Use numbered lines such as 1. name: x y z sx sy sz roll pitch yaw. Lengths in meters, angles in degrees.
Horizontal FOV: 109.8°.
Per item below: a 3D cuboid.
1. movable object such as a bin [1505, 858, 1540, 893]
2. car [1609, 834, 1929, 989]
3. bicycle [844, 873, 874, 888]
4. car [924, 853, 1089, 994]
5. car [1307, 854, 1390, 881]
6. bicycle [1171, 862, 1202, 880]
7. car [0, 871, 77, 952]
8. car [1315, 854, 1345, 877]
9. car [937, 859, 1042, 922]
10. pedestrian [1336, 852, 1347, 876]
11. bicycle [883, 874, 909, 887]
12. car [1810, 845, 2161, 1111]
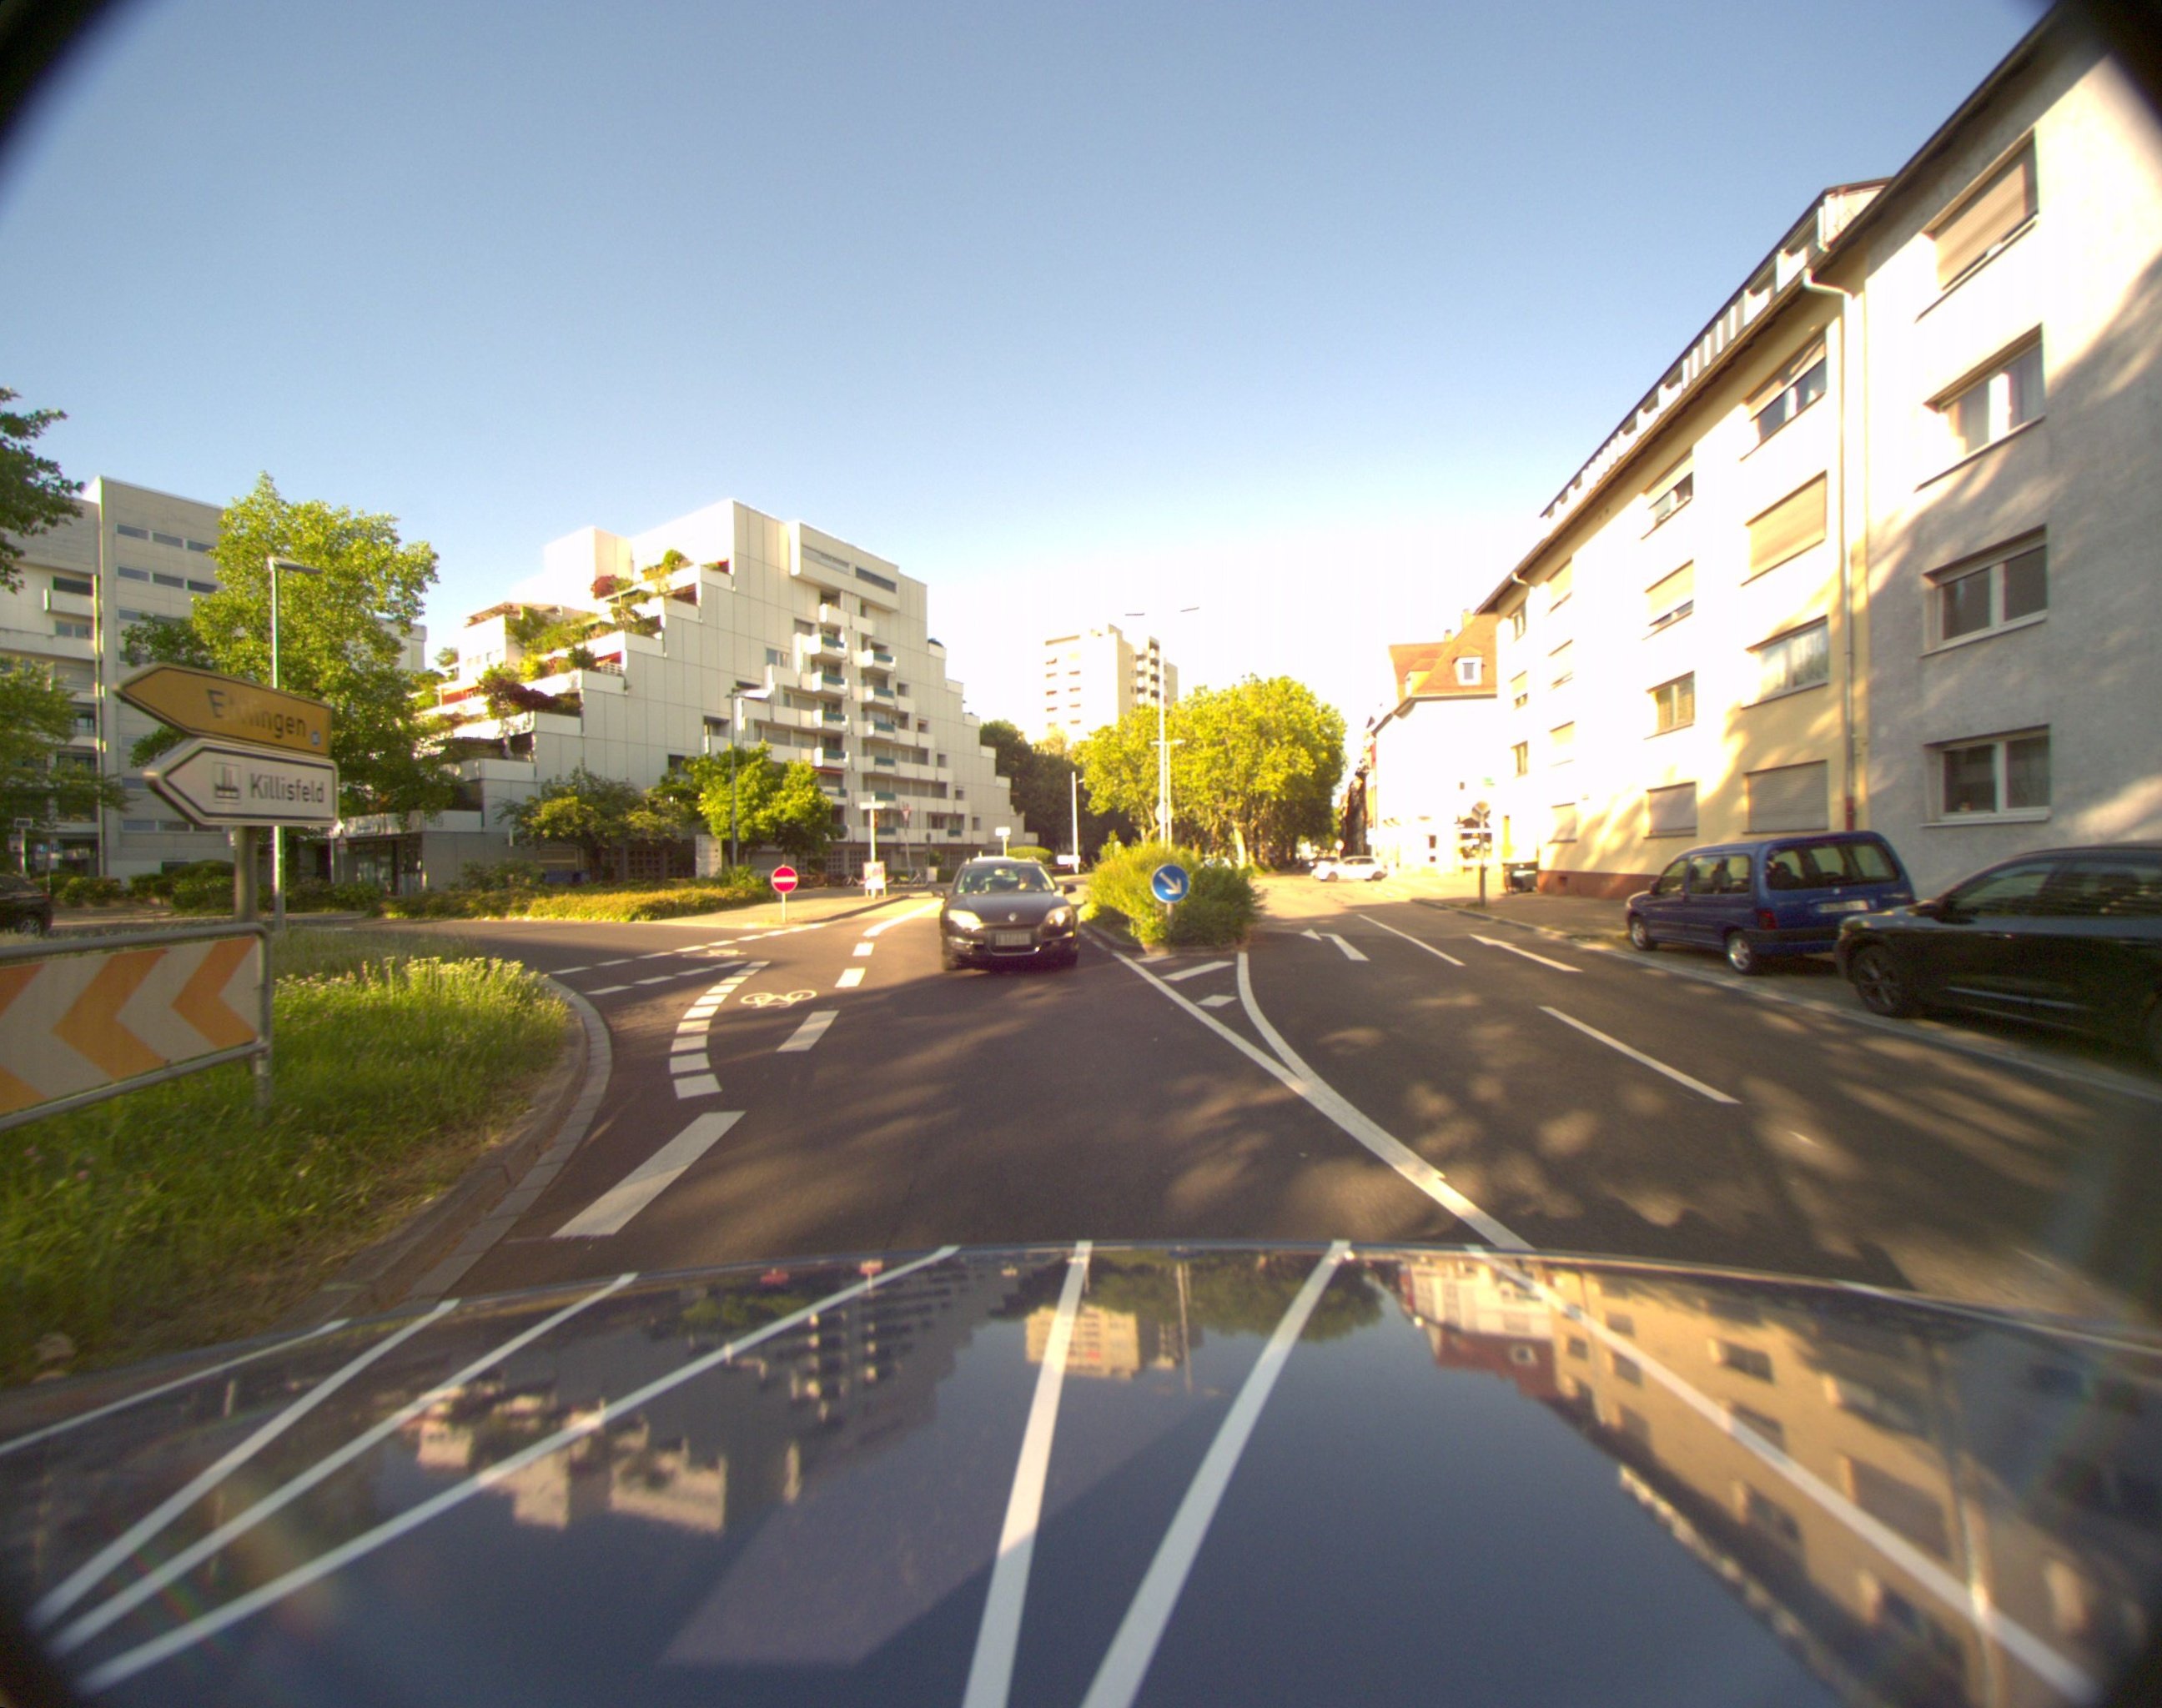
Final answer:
1. movable object such as a bin: 16.708 0.793 28.790 1.033 1.278 1.064 0 0 23
2. car: 9.560 0.702 11.050 1.667 1.808 4.009 -3 0 13
3. bicycle: -13.551 1.603 46.435 1.704 0.833 0.463 -1 0 -44
4. car: -1.197 0.827 11.049 1.846 1.536 4.521 -3 0 -9
5. car: 15.412 0.777 43.905 4.202 1.502 1.801 -1 0 2
6. bicycle: 6.489 1.071 46.942 1.868 1.083 0.628 -1 0 4
7. car: -22.773 1.129 14.761 1.941 1.649 4.471 2 -3 -23
8. car: 19.501 0.885 59.695 1.896 1.782 4.004 0 0 13
9. car: -2.241 0.878 19.522 1.652 1.445 3.538 -1 0 11
10. pedestrian: 18.697 0.711 54.540 0.672 1.702 0.714 -1 1 22
11. bicycle: -11.605 1.636 47.736 1.576 0.780 0.464 -1 0 -11
12. car: 8.226 0.799 5.774 1.909 1.663 4.498 -3 0 15
